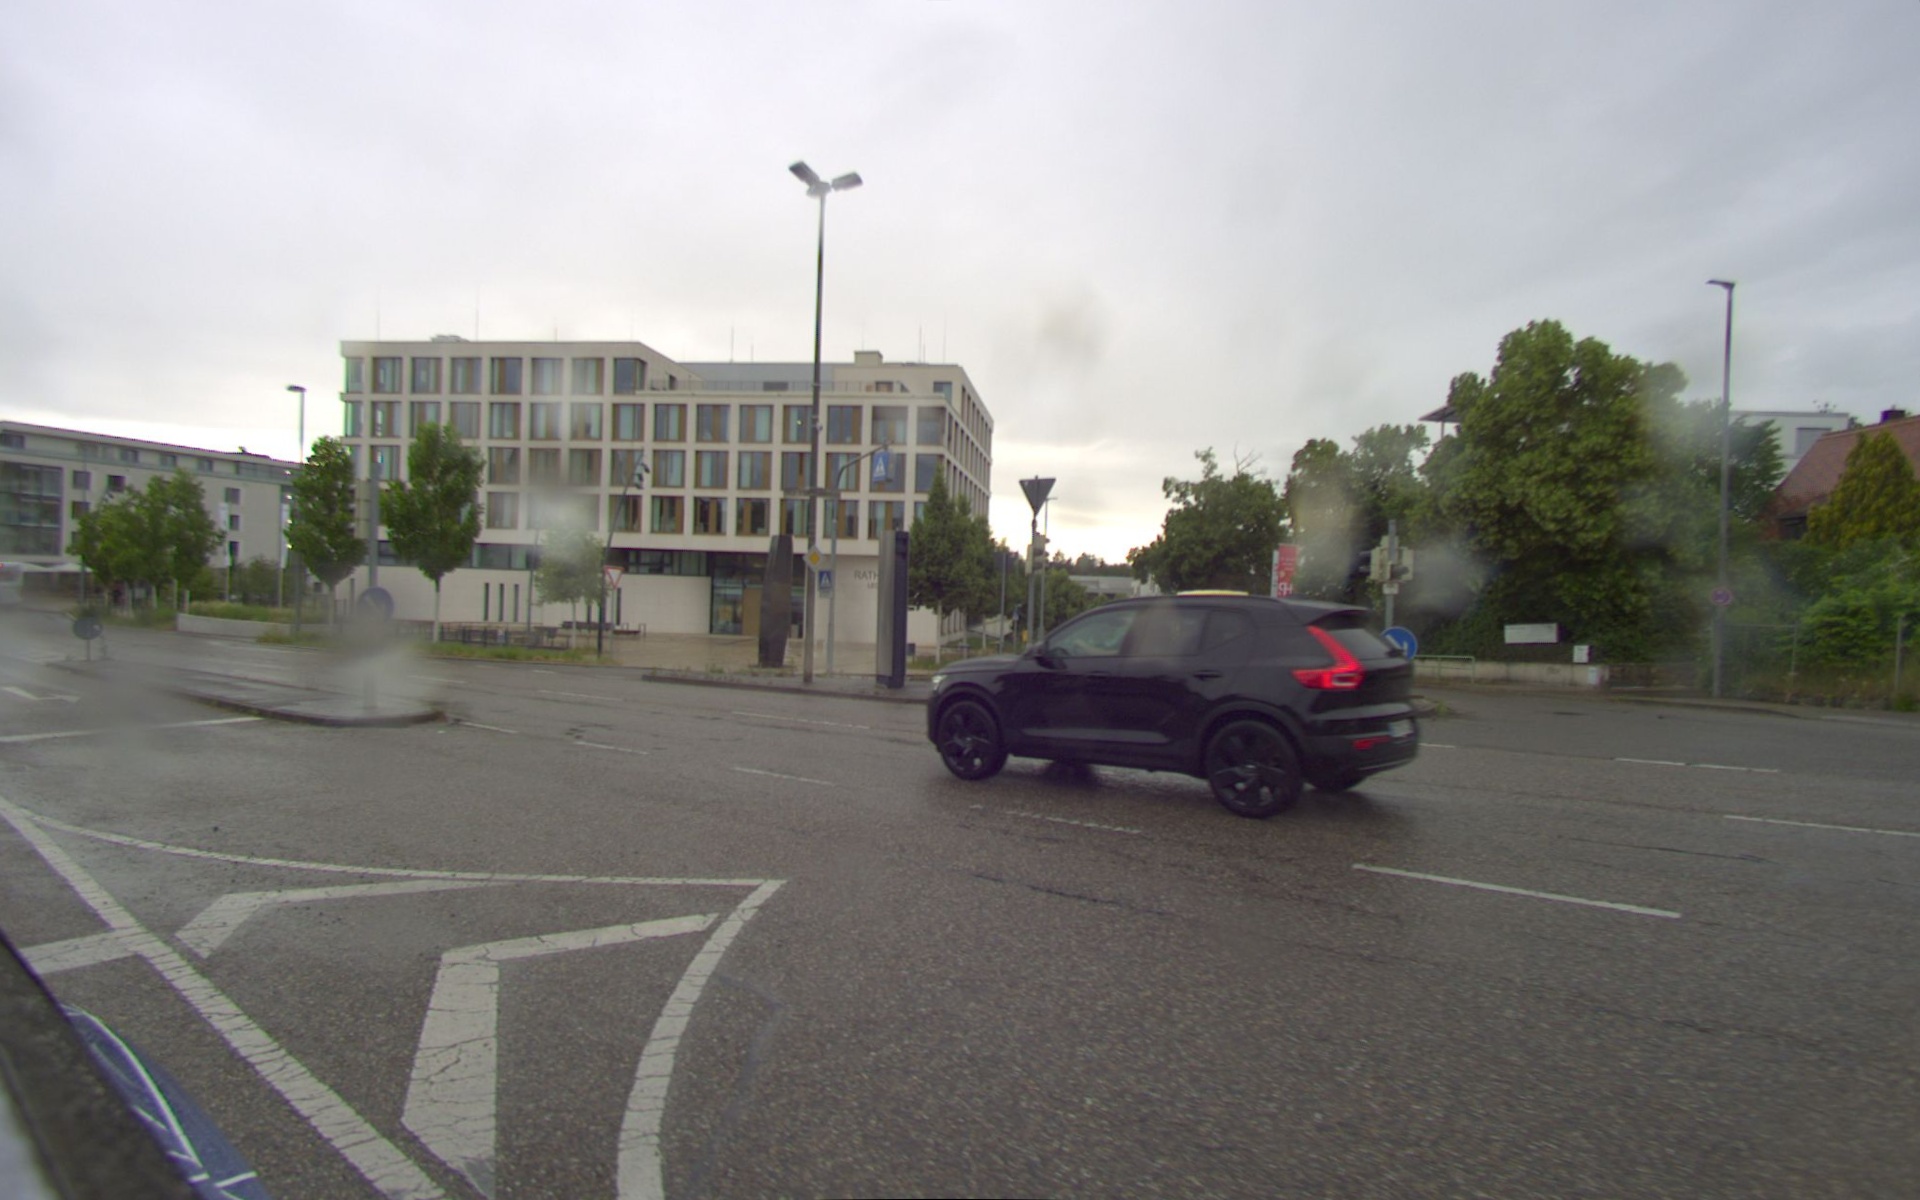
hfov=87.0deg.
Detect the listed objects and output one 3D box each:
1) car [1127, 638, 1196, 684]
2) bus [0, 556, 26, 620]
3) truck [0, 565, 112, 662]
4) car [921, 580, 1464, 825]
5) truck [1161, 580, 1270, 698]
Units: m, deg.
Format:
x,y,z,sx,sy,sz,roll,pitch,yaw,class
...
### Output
x,y,z,sx,sy,sz,roll,pitch,yaw,class
6.433,1.912,32.674,1.843,1.327,4.345,1,-2,7,car
-68.377,-0.809,69.102,18.188,4.025,2.918,0,-2,35,bus
-25.824,0.348,28.431,6.197,2.458,2.141,0,0,41,truck
1.805,0.684,8.530,4.072,1.564,1.883,0,-2,40,car
6.245,0.970,25.438,2.204,2.557,6.155,1,-2,10,truck
